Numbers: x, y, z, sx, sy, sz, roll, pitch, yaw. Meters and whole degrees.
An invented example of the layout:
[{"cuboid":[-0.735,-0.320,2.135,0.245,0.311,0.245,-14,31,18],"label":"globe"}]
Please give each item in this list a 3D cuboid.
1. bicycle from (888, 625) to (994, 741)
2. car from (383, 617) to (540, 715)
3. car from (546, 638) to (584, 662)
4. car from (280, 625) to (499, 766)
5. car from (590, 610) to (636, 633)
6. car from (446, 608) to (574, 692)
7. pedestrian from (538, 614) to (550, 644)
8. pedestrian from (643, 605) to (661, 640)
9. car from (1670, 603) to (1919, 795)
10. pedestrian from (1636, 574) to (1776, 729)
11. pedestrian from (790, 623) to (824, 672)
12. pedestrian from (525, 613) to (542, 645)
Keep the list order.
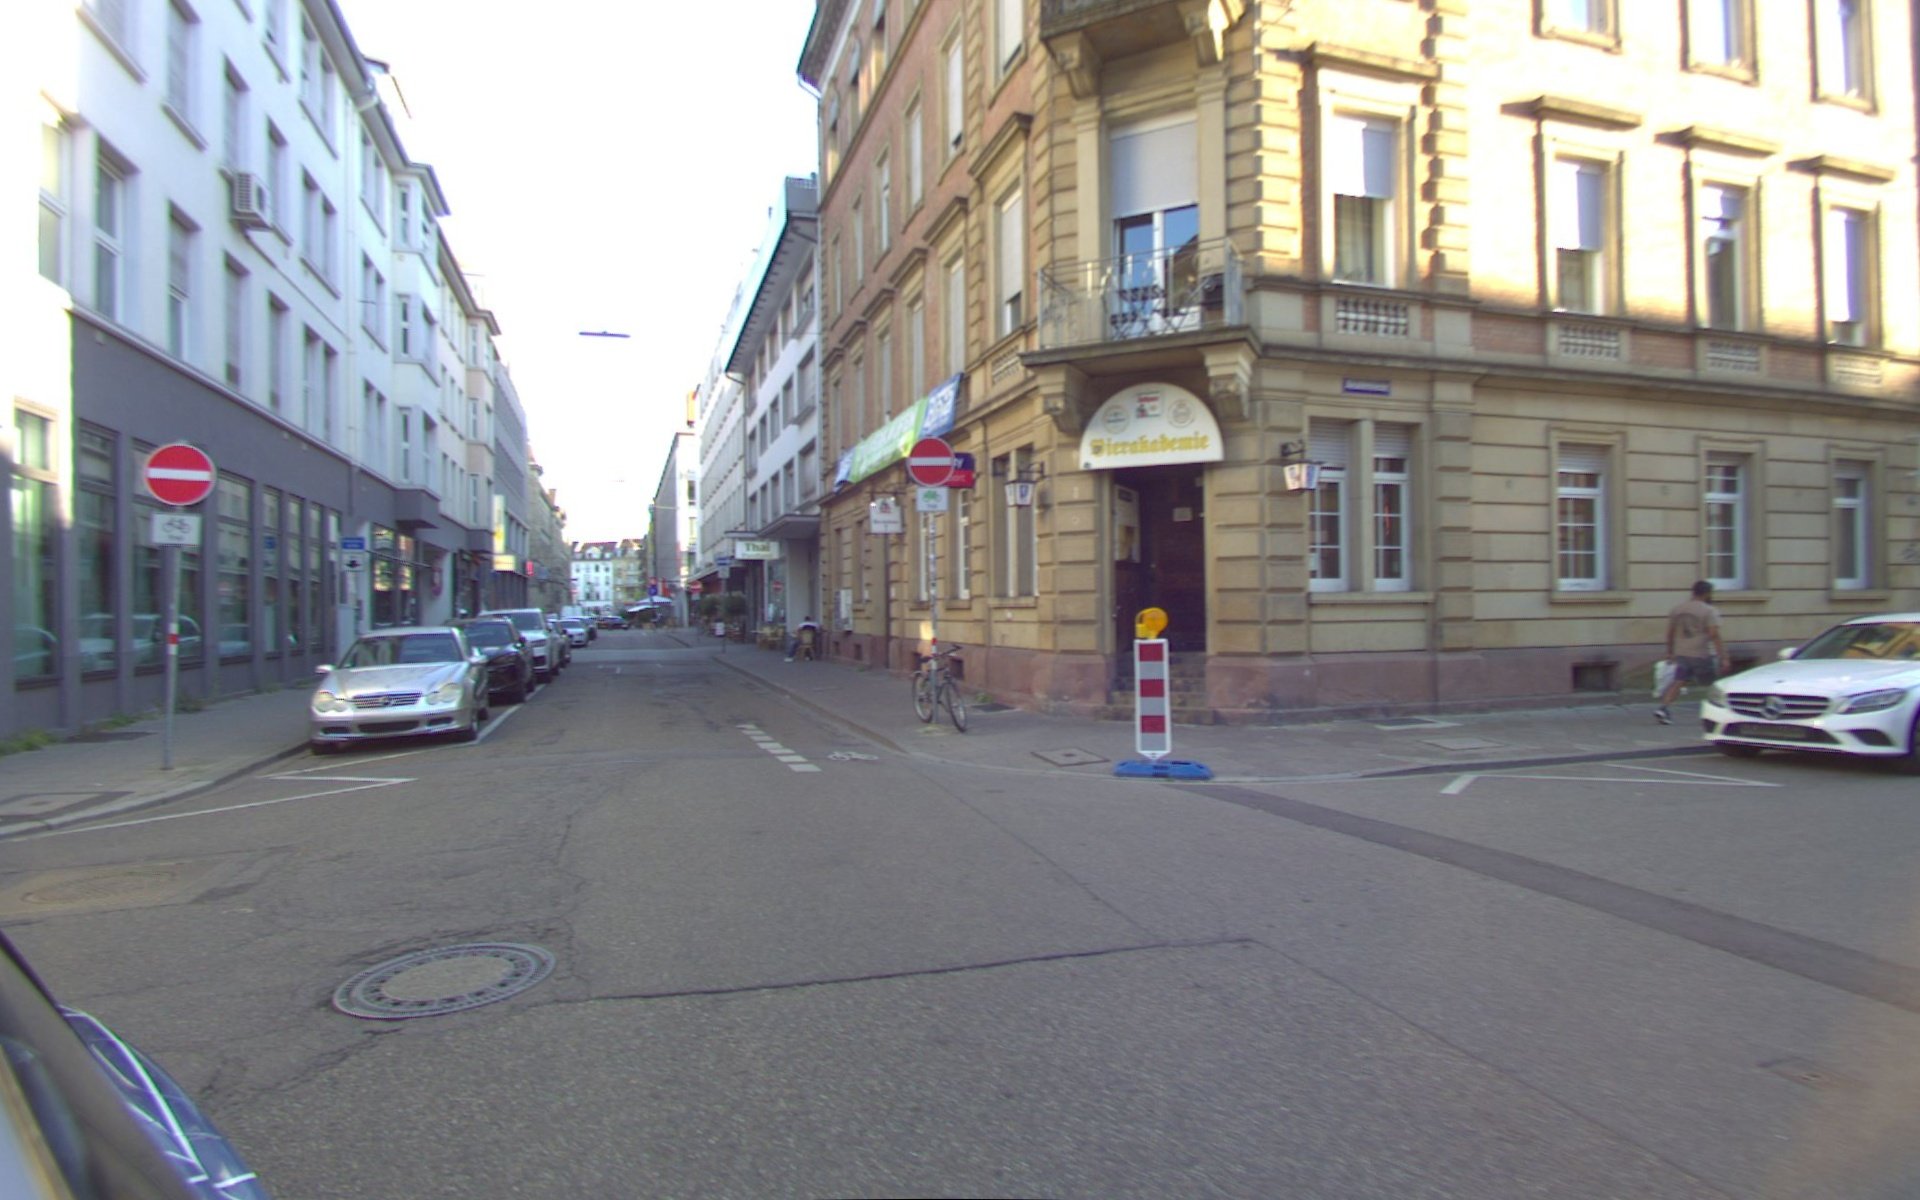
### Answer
[{"cuboid":[-0.268,0.981,12.576,0.649,1.285,1.769,-4,0,-22],"label":"bicycle"},{"cuboid":[-8.859,1.102,18.352,1.980,1.536,4.130,0,-1,-18],"label":"car"},{"cuboid":[-19.031,2.390,48.875,1.489,1.067,3.477,0,-1,-18],"label":"car"},{"cuboid":[-7.093,1.066,13.046,1.726,1.412,4.503,-2,-1,-20],"label":"car"},{"cuboid":[-31.777,1.970,92.641,3.987,2.029,1.978,-1,-1,33],"label":"car"},{"cuboid":[-10.460,1.106,23.894,2.297,1.757,4.501,0,-1,-18],"label":"car"},{"cuboid":[-29.522,2.084,71.827,0.714,2.107,0.807,0,-1,-25],"label":"pedestrian"},{"cuboid":[-23.891,1.752,78.516,1.227,2.634,1.472,0,-1,-19],"label":"pedestrian"},{"cuboid":[9.609,0.825,10.017,4.428,1.576,2.006,0,-1,-20],"label":"car"},{"cuboid":[8.923,0.586,12.128,0.999,1.755,0.988,0,0,-27],"label":"pedestrian"},{"cuboid":[-4.339,1.349,28.703,0.827,1.349,0.805,-1,-1,2],"label":"pedestrian"},{"cuboid":[-29.513,2.029,69.999,1.014,2.191,0.888,0,-1,-25],"label":"pedestrian"}]
